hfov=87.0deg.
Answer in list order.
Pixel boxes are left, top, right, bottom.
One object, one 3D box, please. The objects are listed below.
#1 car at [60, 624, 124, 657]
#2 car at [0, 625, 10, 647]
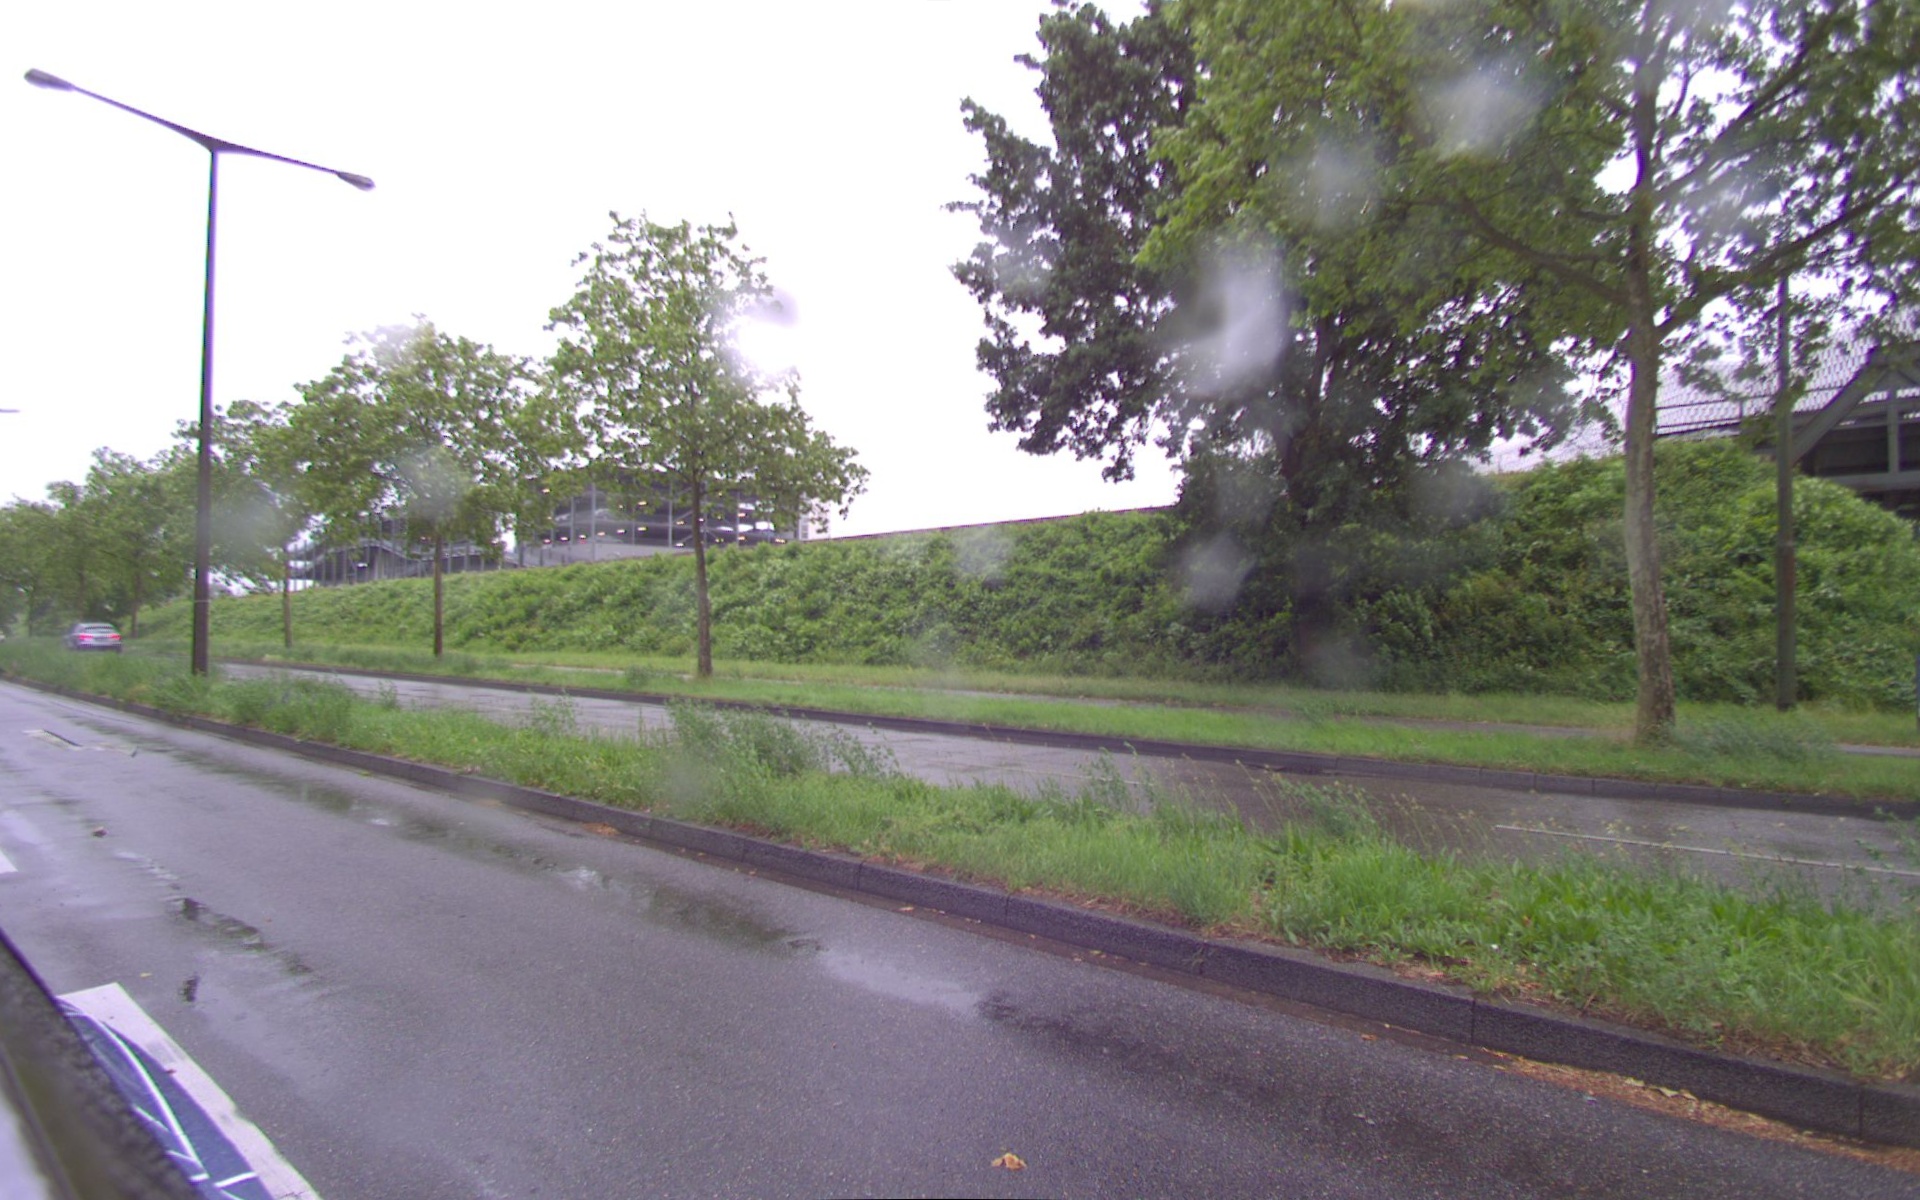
[{"bbox_3d":[-45.593,2.109,53.116,4.516,1.601,1.837,-1,-4,41],"label":"car"},{"bbox_3d":[-72.387,2.682,75.398,4.516,1.601,1.837,-1,-3,41],"label":"car"}]
